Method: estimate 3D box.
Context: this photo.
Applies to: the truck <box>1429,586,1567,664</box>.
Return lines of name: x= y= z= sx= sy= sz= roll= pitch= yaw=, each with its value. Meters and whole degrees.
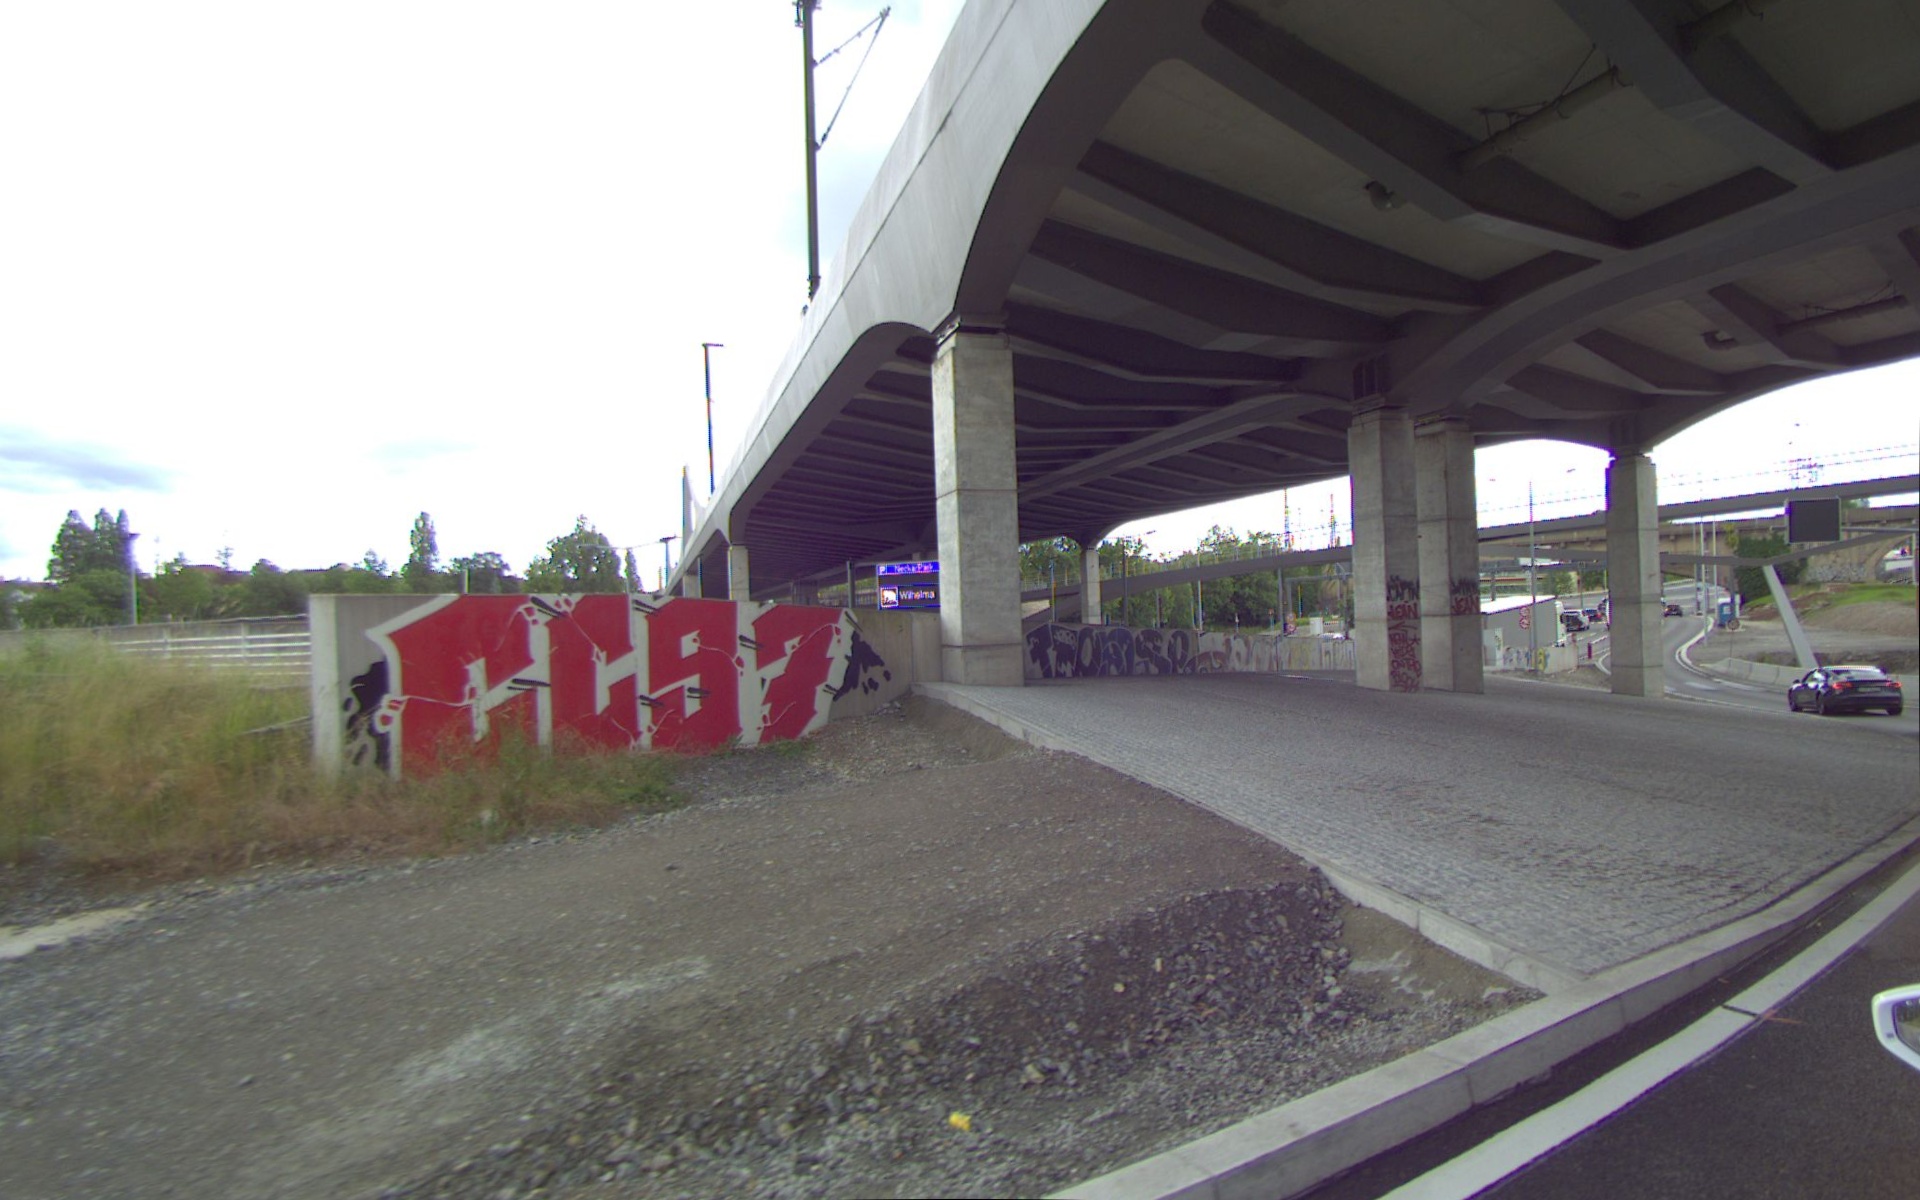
truck: x=32.384 y=1.215 z=59.811 sx=3.280 sy=3.861 sz=16.497 roll=0 pitch=1 yaw=42

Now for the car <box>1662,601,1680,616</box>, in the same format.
car: x=81.617 y=0.995 z=115.298 sx=1.603 sy=1.606 sz=3.984 roll=-1 pitch=-1 yaw=37

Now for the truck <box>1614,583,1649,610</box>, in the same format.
truck: x=86.736 y=-0.422 z=129.706 sx=3.351 sy=3.191 sz=7.229 roll=2 pitch=0 yaw=37

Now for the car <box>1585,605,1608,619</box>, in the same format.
car: x=68.067 y=1.272 z=107.331 sx=1.512 sy=1.529 sz=3.980 roll=-1 pitch=-1 yaw=40

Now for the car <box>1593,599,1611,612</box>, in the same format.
car: x=81.290 y=0.755 z=127.116 sx=1.603 sy=1.606 sz=3.984 roll=-1 pitch=-1 yaw=37

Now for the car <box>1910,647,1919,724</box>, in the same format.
car: x=20.924 y=1.825 z=20.442 sx=1.727 sy=1.646 sz=3.832 roll=-2 pitch=-2 yaw=35

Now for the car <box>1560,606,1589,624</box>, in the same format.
car: x=55.366 y=1.331 z=90.431 sx=1.626 sy=1.642 sz=3.981 roll=-1 pitch=-1 yaw=40

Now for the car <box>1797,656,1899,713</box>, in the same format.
car: x=26.624 y=2.495 z=30.227 sx=1.478 sy=1.488 sz=3.395 roll=-1 pitch=-2 yaw=27
